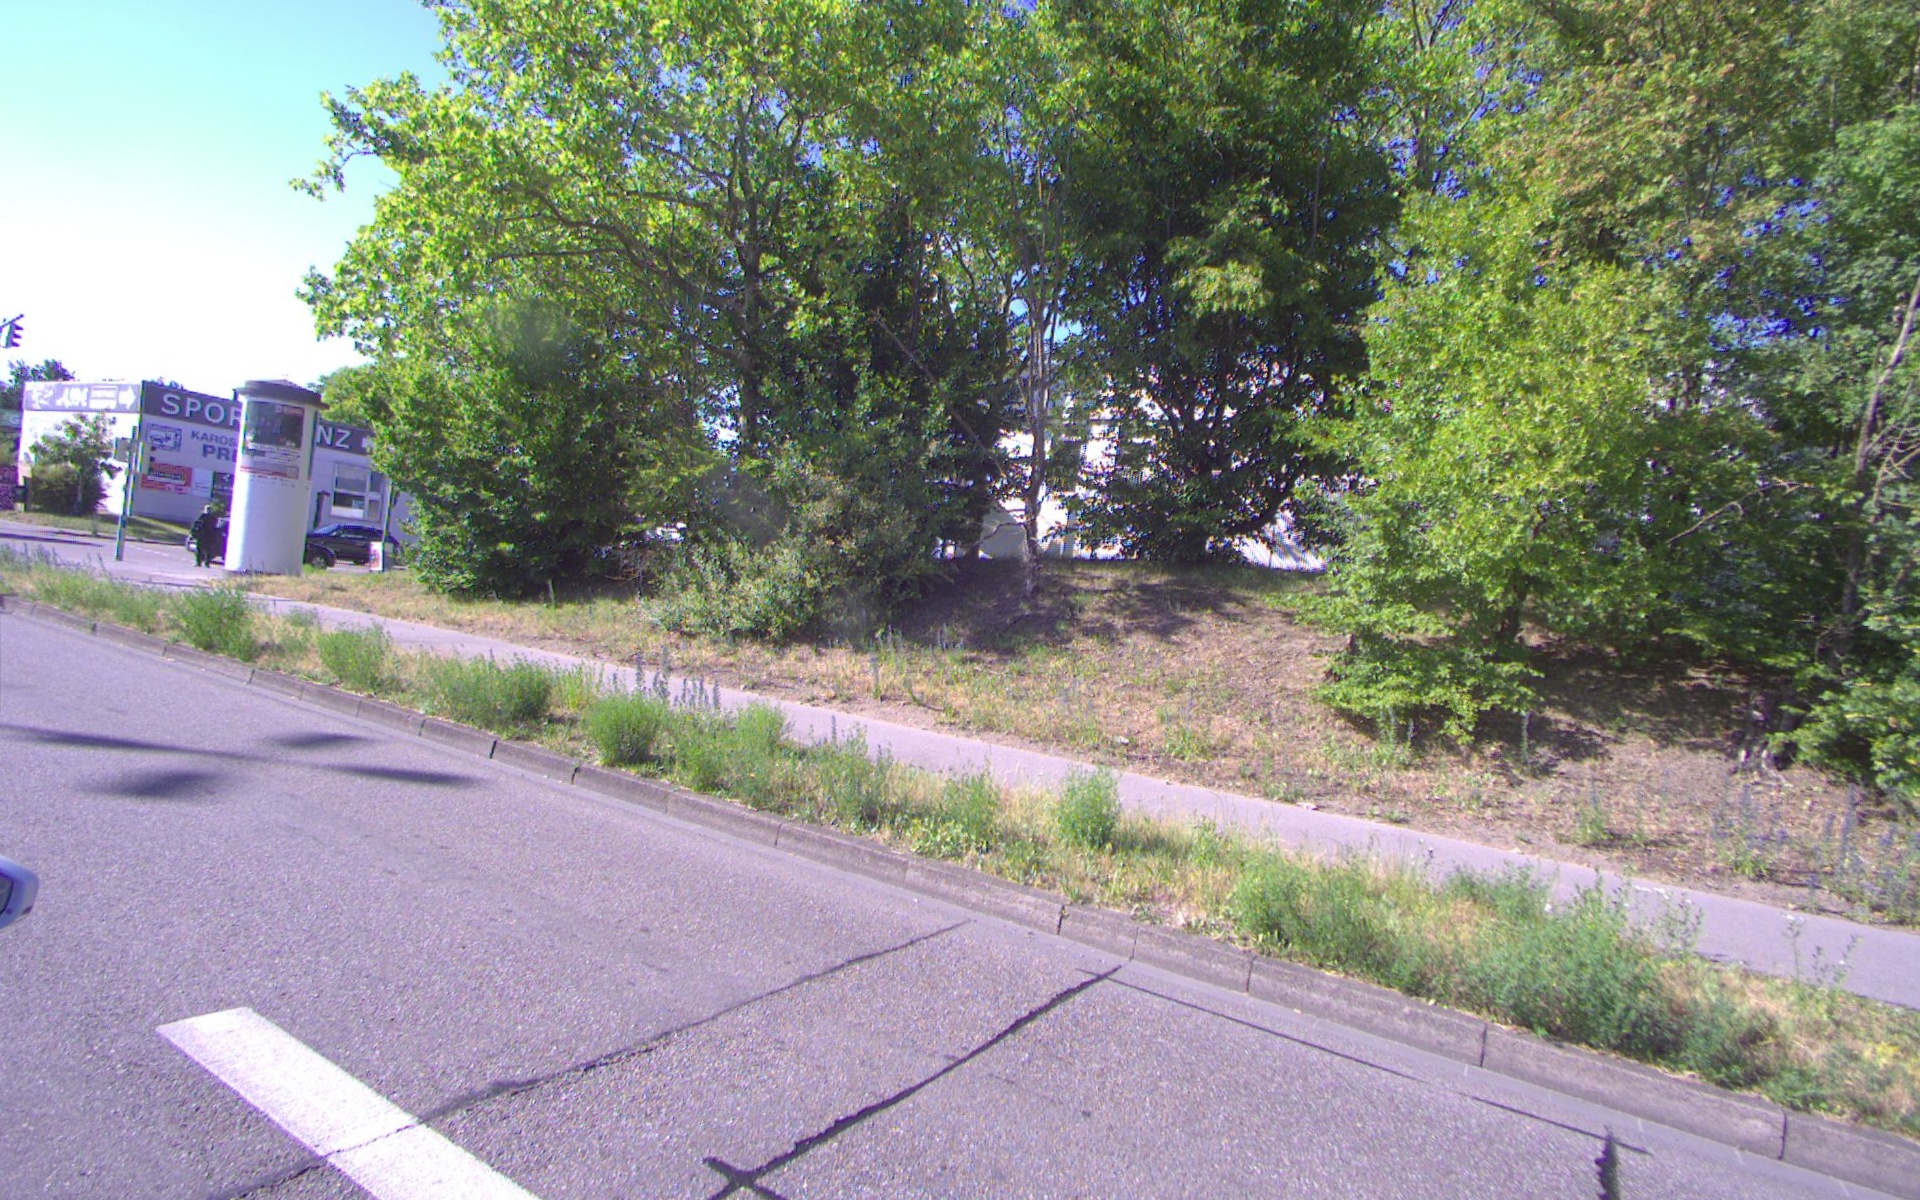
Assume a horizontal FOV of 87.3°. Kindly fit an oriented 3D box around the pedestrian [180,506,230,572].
[{"bbox_3d":[-20.994,-1.690,27.965,0.506,1.688,0.818,6,-1,31],"label":"pedestrian"}]

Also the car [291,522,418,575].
[{"bbox_3d":[-25.060,-2.111,41.748,1.848,1.525,3.995,6,-2,32],"label":"car"}]
